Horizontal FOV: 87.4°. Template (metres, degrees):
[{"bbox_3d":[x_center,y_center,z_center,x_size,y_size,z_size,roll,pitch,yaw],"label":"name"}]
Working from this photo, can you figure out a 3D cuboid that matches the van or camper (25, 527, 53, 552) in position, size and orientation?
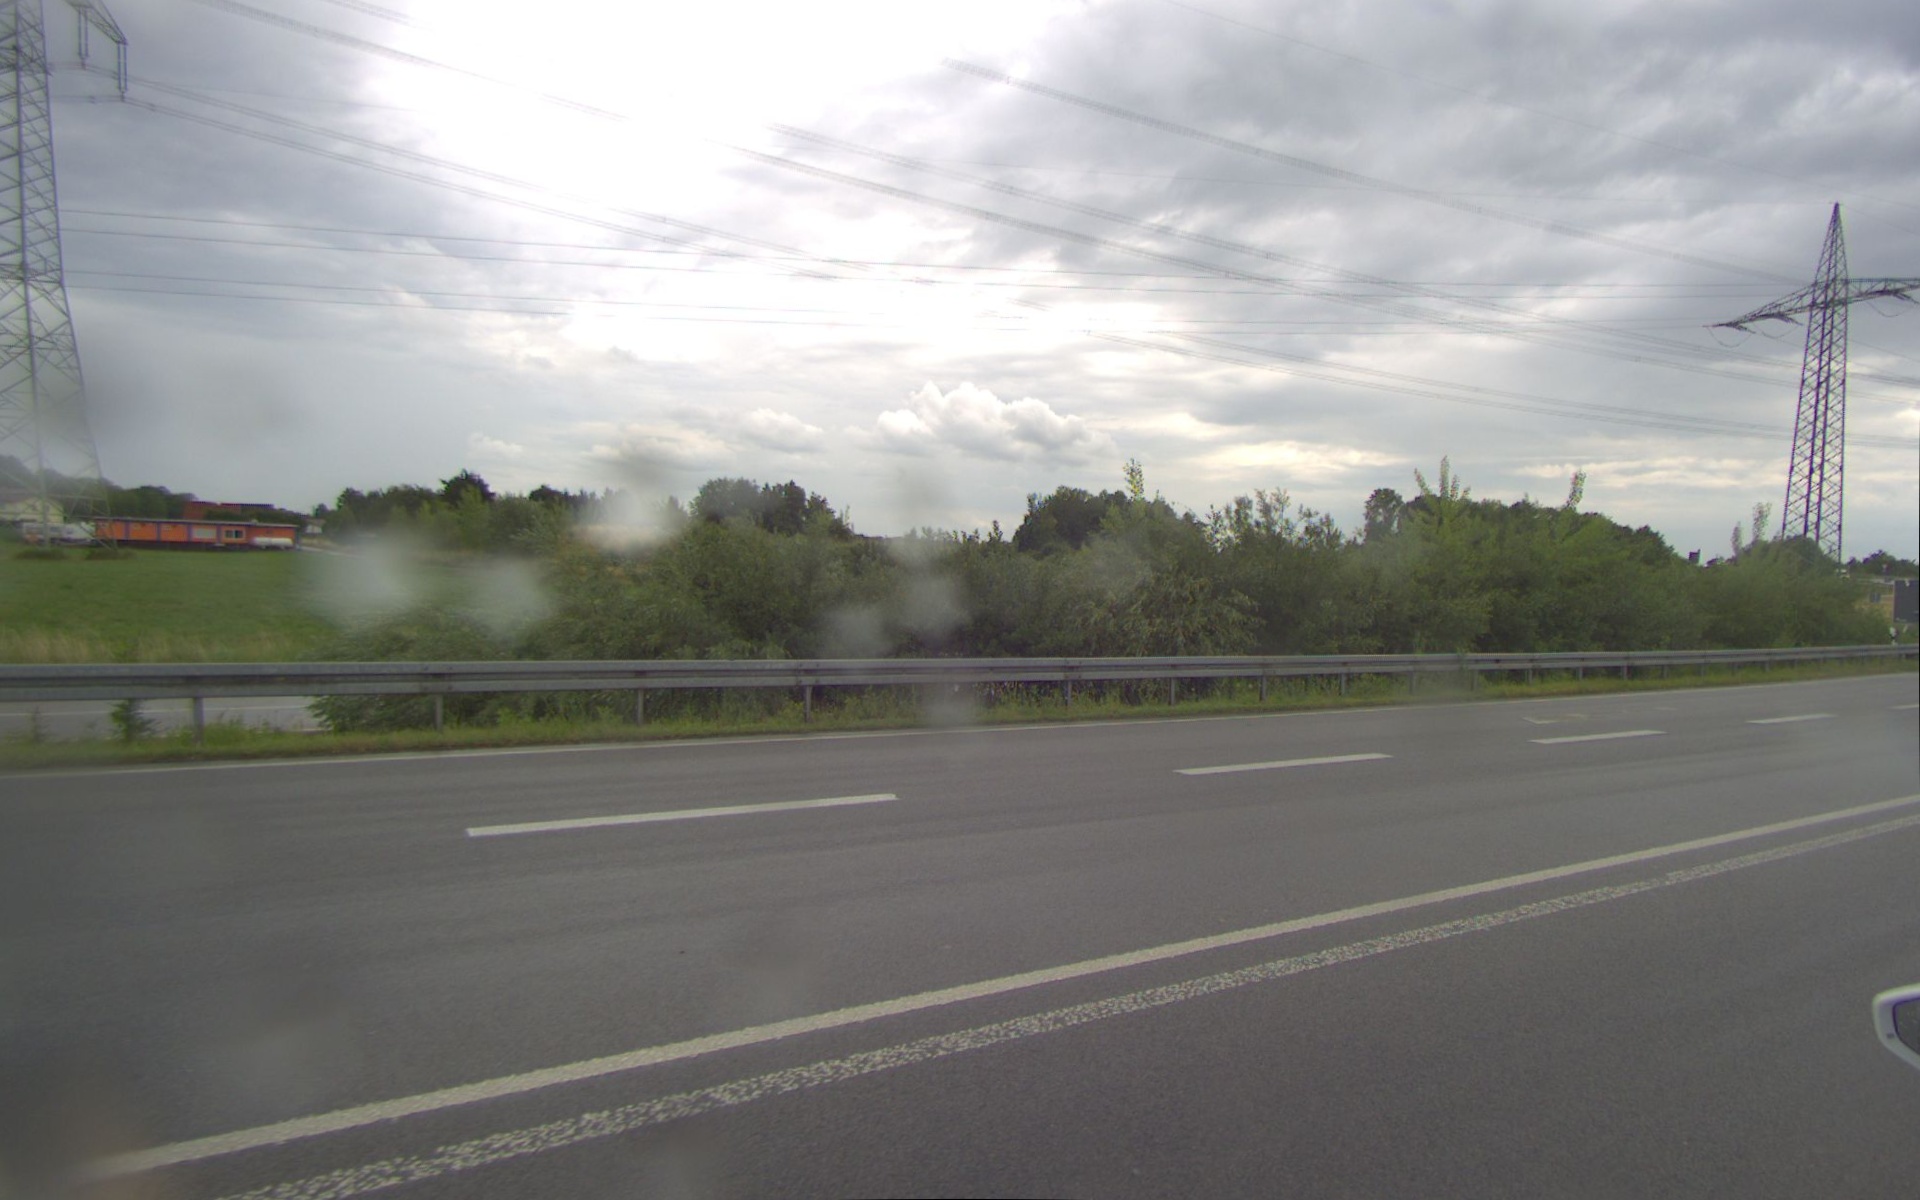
[{"bbox_3d":[-108.969,-7.167,118.822,2.312,2.667,5.643,1,4,-43],"label":"van or camper"}]

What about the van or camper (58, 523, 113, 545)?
[{"bbox_3d":[-124.731,-9.397,143.289,5.663,2.667,2.304,2,4,-36],"label":"van or camper"}]
